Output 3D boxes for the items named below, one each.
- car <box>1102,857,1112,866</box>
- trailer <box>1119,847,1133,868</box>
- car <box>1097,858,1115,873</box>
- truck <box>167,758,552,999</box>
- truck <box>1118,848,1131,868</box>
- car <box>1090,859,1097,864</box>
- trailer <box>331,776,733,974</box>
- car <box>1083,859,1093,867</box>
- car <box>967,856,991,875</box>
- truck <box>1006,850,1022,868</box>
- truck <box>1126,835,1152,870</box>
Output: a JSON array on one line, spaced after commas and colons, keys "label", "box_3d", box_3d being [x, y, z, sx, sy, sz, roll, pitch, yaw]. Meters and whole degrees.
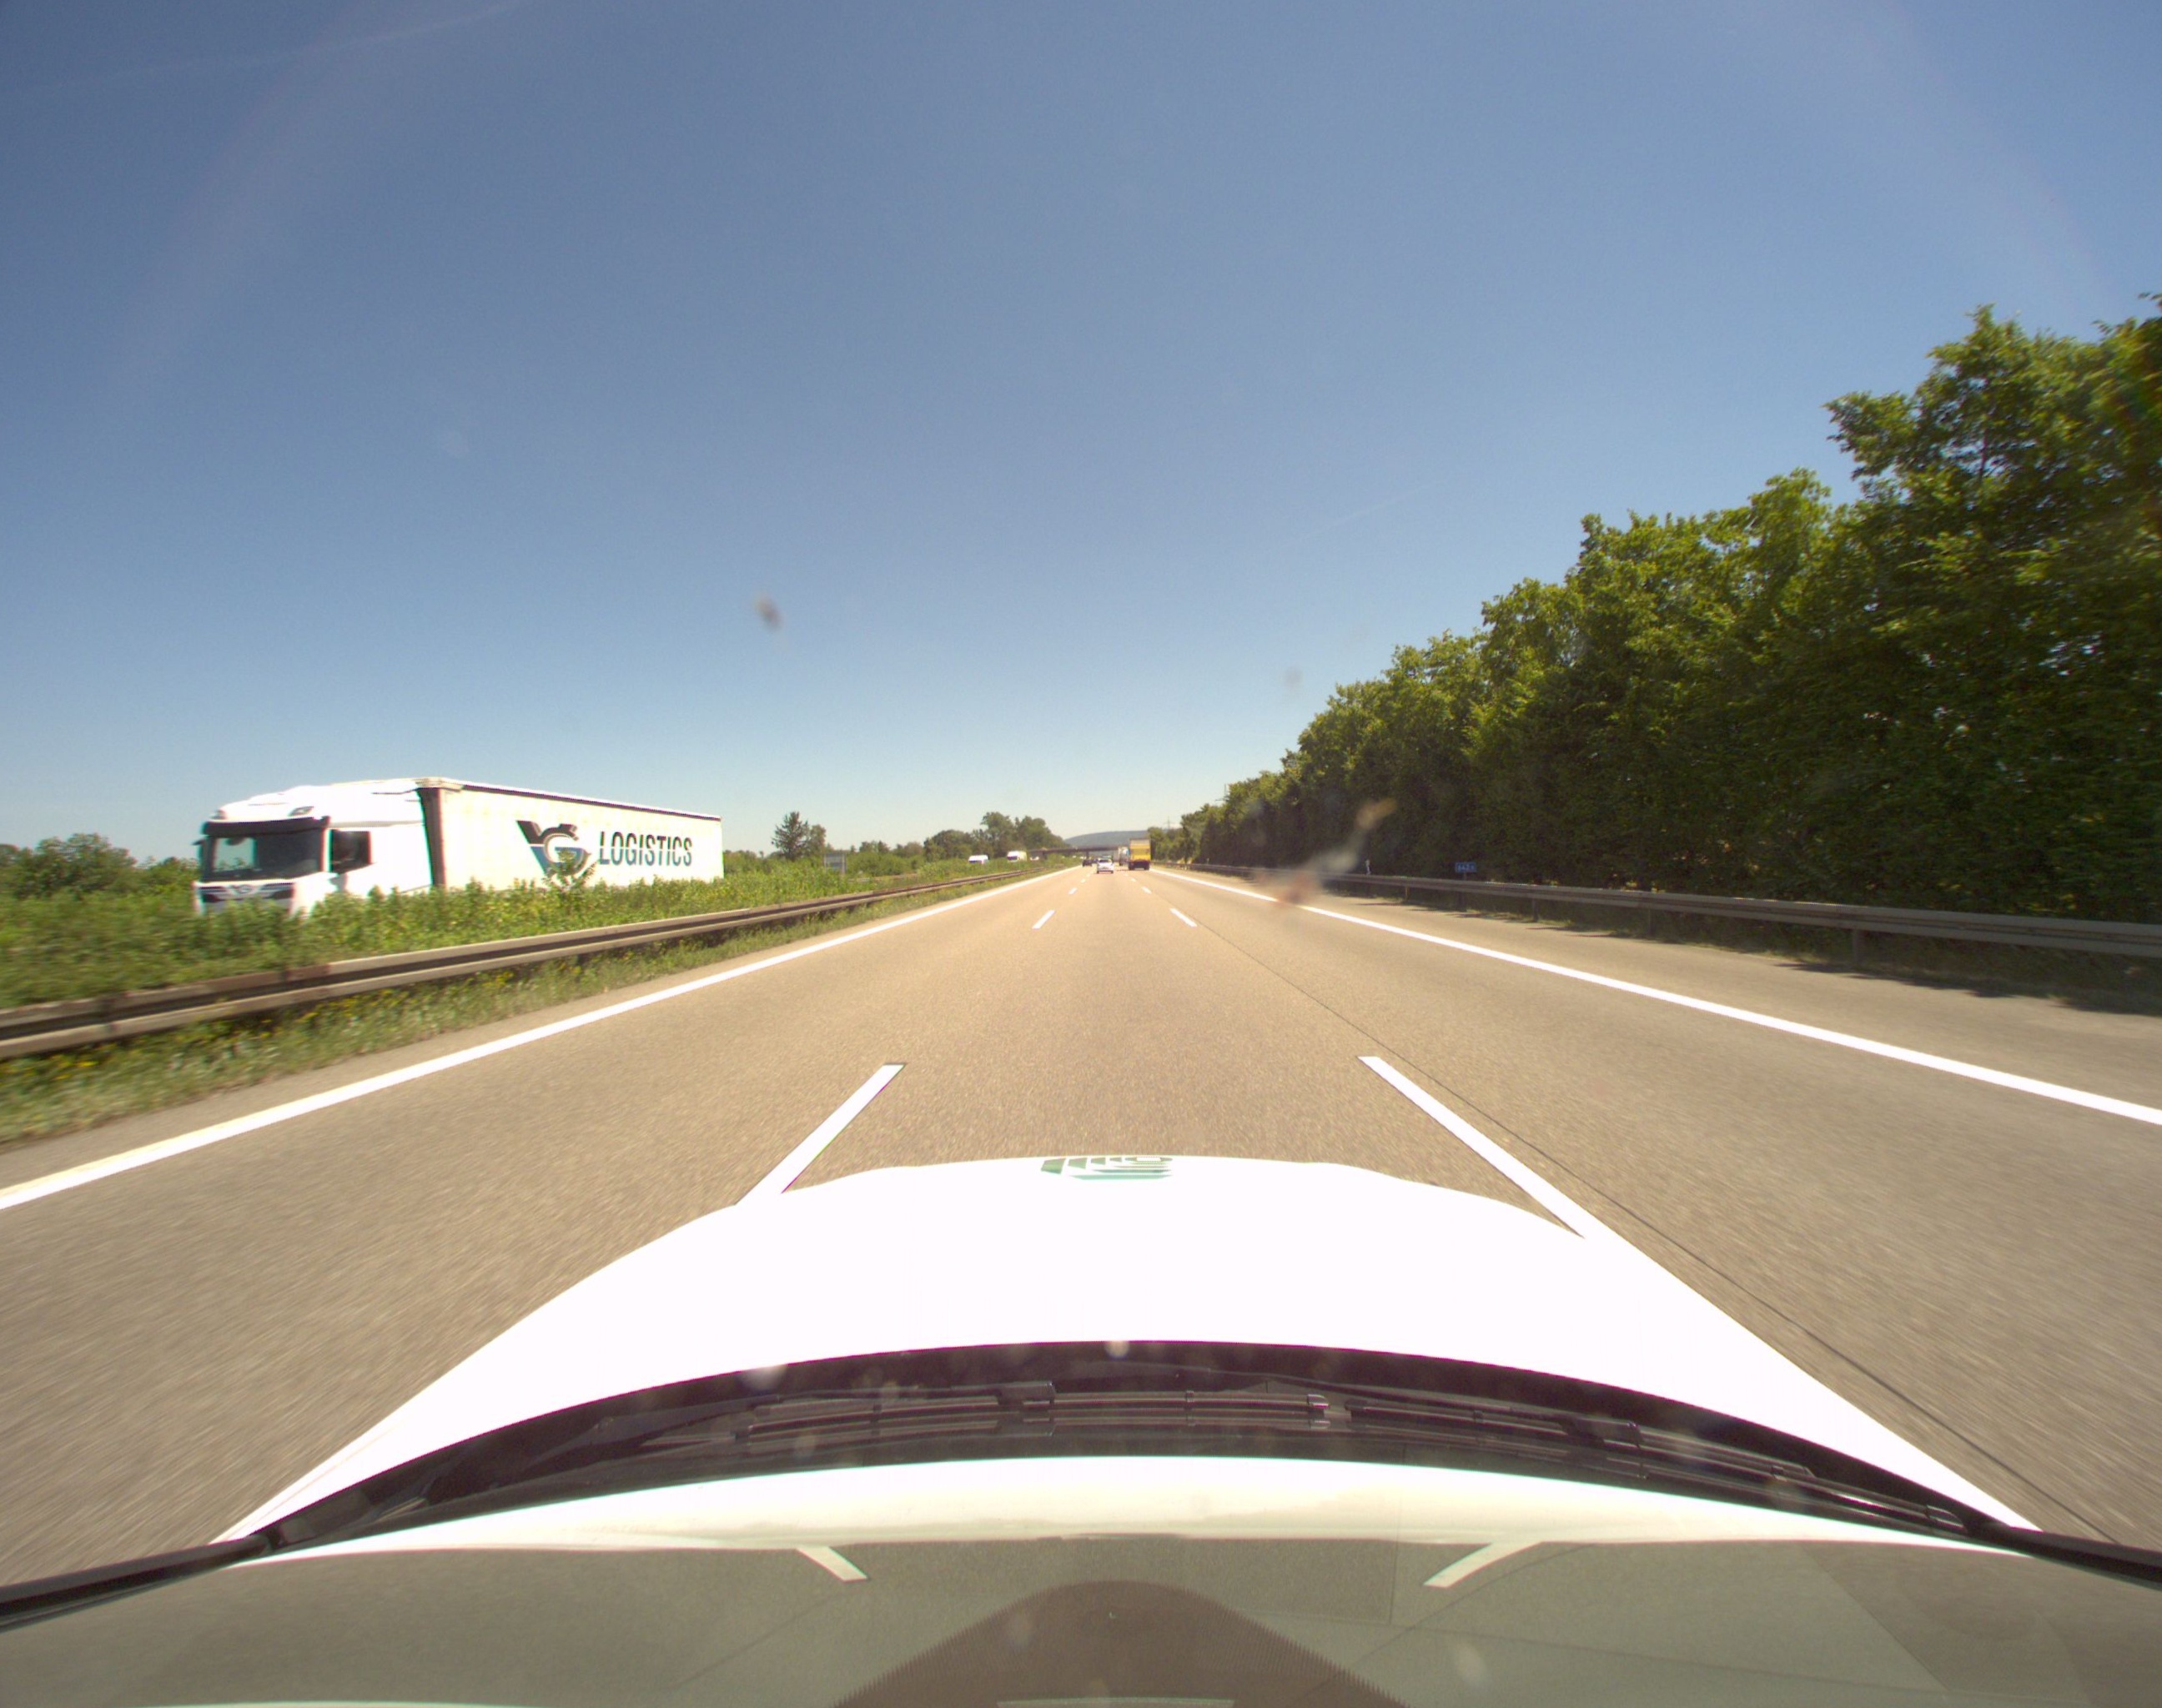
[{"label": "car", "box_3d": [4.646, 1.329, 144.350, 1.845, 1.633, 4.002, 0, 0, 2]}, {"label": "trailer", "box_3d": [9.030, 0.739, 165.020, 2.570, 4.074, 11.105, 0, 0, 1]}, {"label": "car", "box_3d": [2.534, 1.125, 83.003, 1.800, 1.468, 4.002, 0, 0, 2]}, {"label": "truck", "box_3d": [-15.754, 0.488, 18.651, 2.810, 4.526, 6.541, 0, -1, 2]}, {"label": "truck", "box_3d": [9.152, 0.774, 170.420, 2.564, 4.072, 6.394, 0, -1, 1]}, {"label": "car", "box_3d": [3.580, 2.243, 230.325, 1.828, 1.386, 4.002, 0, 0, 2]}, {"label": "trailer", "box_3d": [-15.517, 0.540, 25.579, 2.810, 4.526, 13.872, 0, 0, 2]}, {"label": "car", "box_3d": [1.350, 1.717, 157.500, 1.828, 1.386, 4.002, 0, 0, 2]}, {"label": "car", "box_3d": [-13.142, 1.459, 105.097, 2.073, 2.394, 6.734, 0, 0, 1]}, {"label": "truck", "box_3d": [-14.901, 1.180, 180.545, 2.923, 3.870, 5.753, 0, -1, 1]}, {"label": "truck", "box_3d": [7.367, -0.135, 104.418, 2.923, 4.200, 10.684, 0, 0, 1]}]
